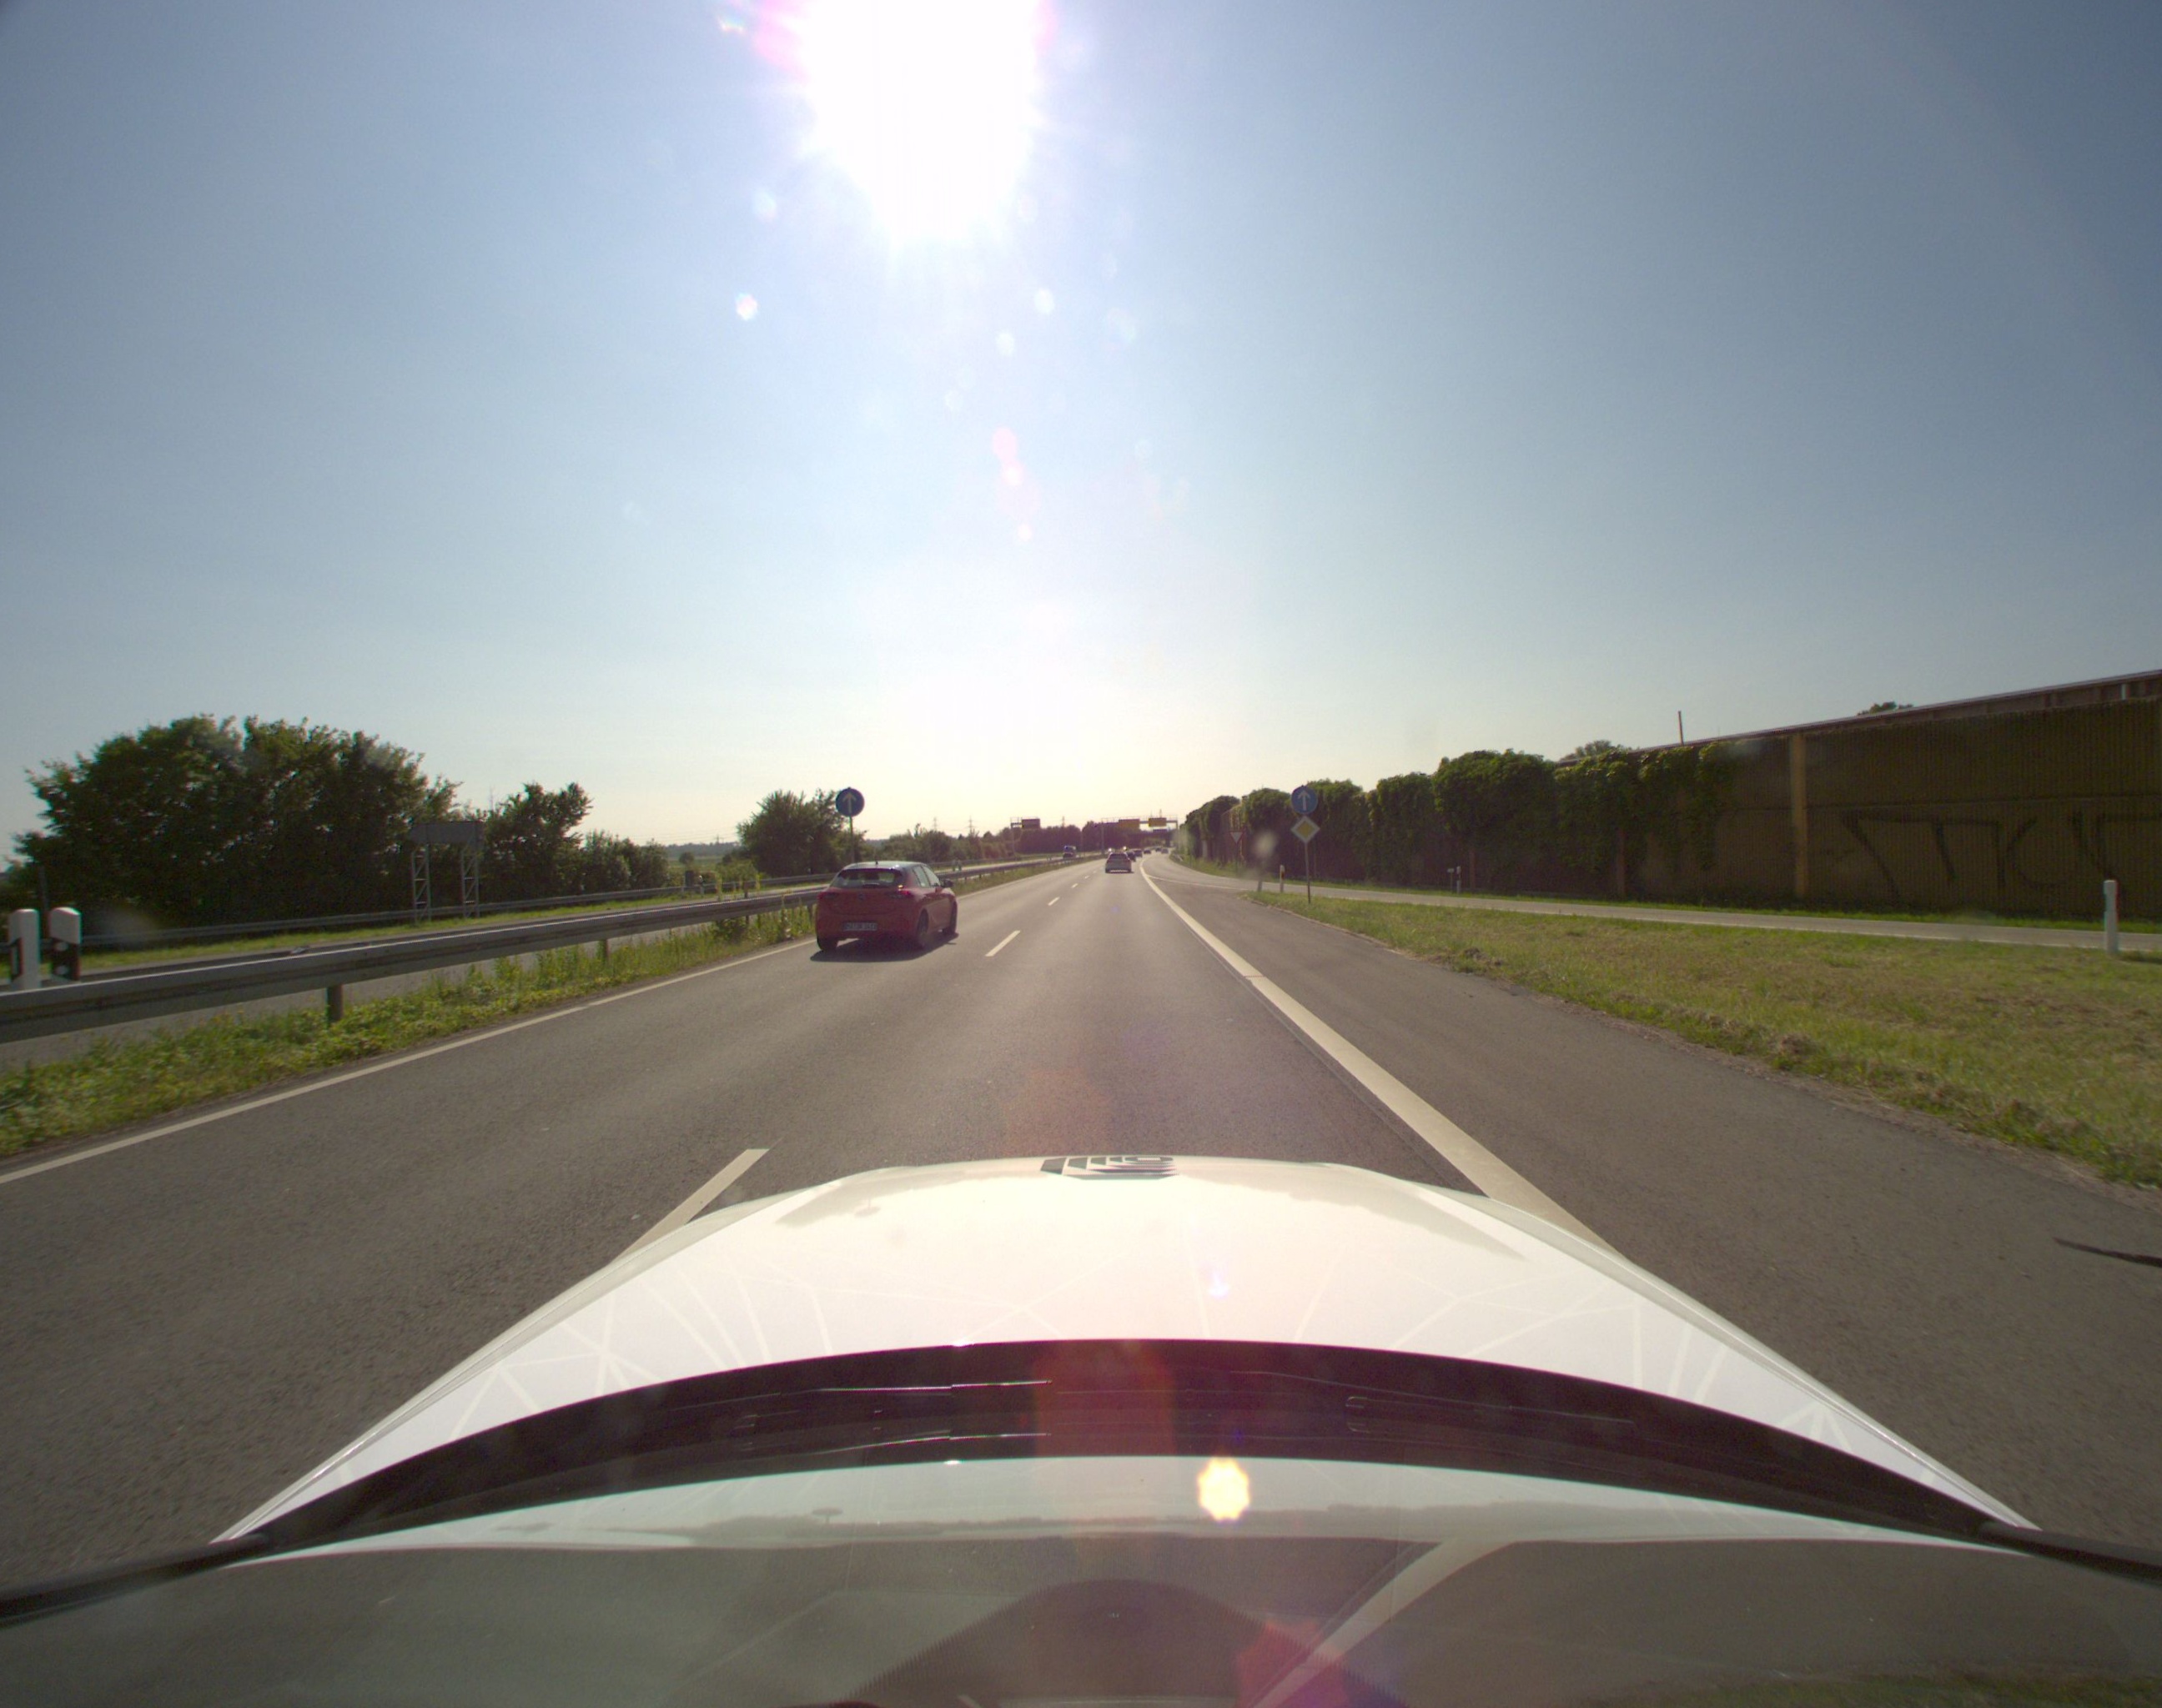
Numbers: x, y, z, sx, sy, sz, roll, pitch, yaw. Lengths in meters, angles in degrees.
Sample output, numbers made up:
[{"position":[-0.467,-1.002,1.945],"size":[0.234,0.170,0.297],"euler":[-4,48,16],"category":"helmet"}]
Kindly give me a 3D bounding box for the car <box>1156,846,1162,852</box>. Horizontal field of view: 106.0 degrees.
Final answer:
[{"position":[24.180,-1.518,252.855],"size":[1.832,1.698,4.007],"euler":[-1,0,6],"category":"car"}]

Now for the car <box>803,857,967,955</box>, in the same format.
[{"position":[-3.306,0.810,14.663],"size":[1.702,1.437,4.414],"euler":[-2,0,2],"category":"car"}]

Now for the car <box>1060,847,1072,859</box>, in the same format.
[{"position":[-3.026,-0.199,166.931],"size":[2.130,2.541,5.813],"euler":[-1,0,3],"category":"car"}]

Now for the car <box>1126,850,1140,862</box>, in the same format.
[{"position":[7.001,0.296,109.446],"size":[1.785,1.543,3.675],"euler":[-1,0,3],"category":"car"}]

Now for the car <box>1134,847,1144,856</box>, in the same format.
[{"position":[11.186,-0.413,157.067],"size":[1.759,1.736,3.639],"euler":[-1,0,7],"category":"car"}]

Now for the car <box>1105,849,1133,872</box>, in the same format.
[{"position":[2.764,0.445,59.250],"size":[1.950,1.601,4.110],"euler":[0,1,3],"category":"car"}]

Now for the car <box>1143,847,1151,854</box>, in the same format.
[{"position":[16.521,-0.848,204.635],"size":[1.833,1.802,4.004],"euler":[-1,0,4],"category":"car"}]
